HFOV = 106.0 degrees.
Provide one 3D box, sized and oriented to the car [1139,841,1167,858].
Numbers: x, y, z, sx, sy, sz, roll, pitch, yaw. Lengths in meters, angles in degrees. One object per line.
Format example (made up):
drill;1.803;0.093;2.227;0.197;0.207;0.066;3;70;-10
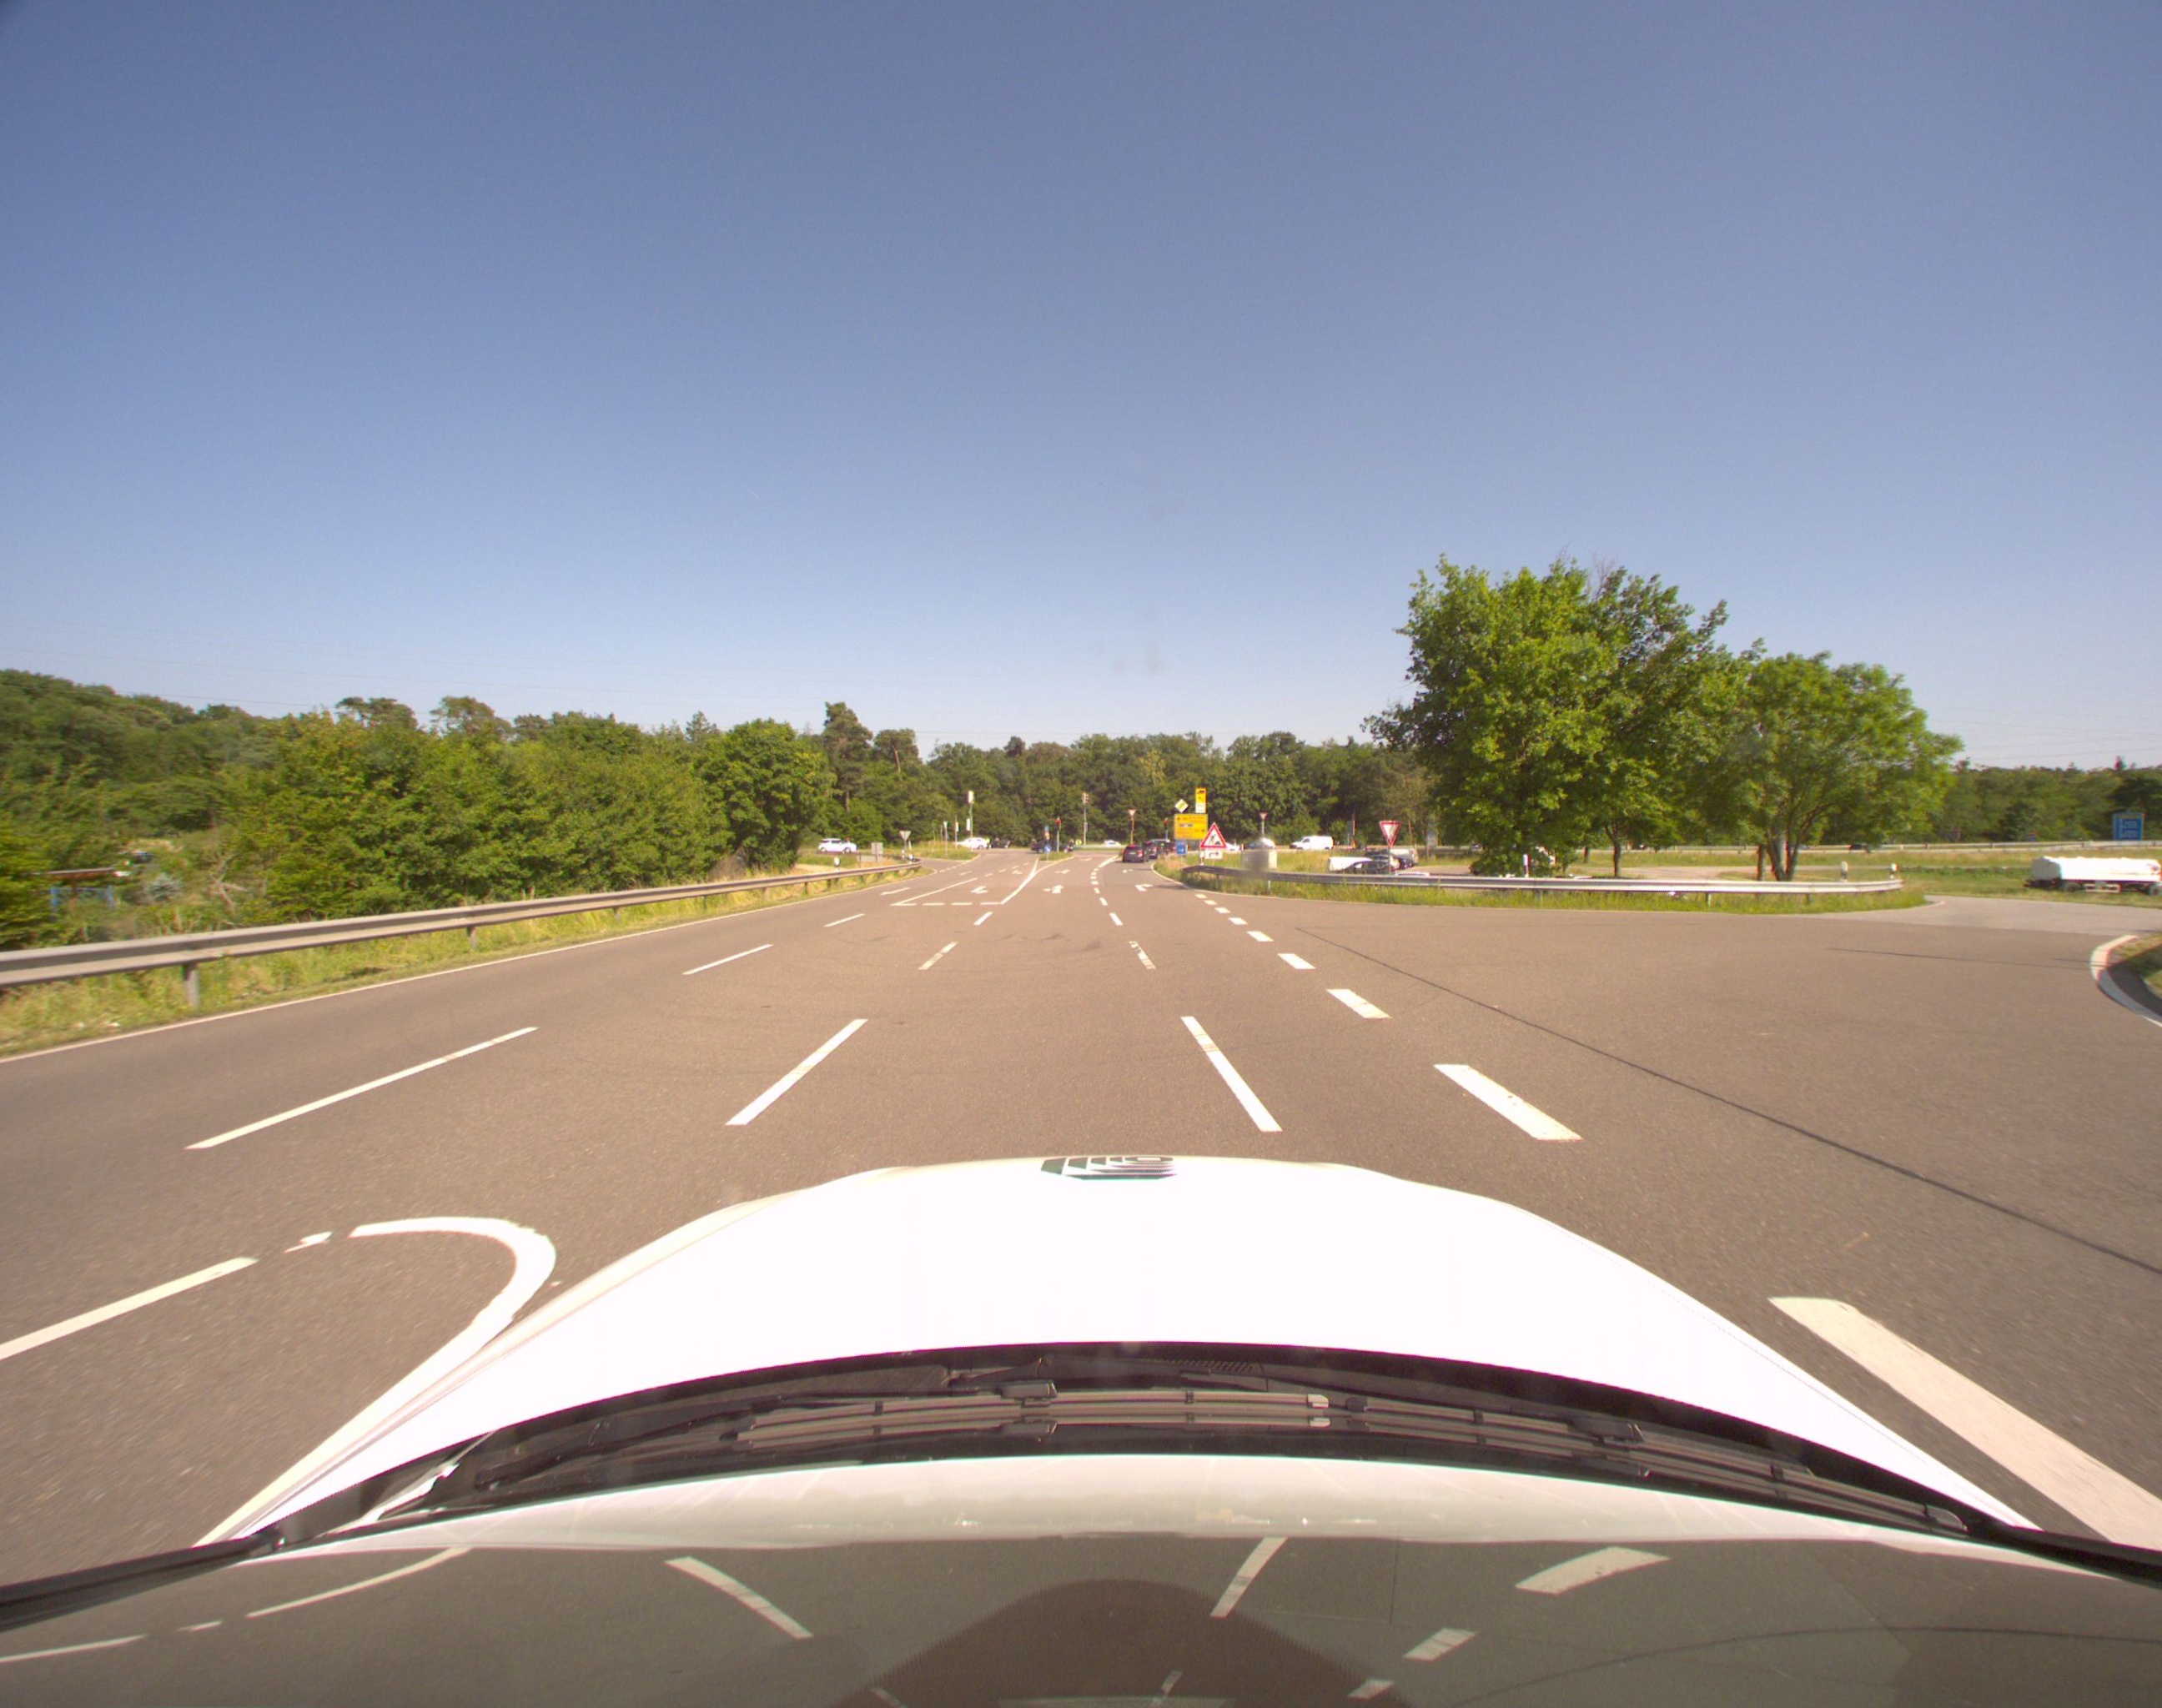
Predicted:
car;6.528;-0.393;73.647;1.785;1.501;4.018;0;1;17

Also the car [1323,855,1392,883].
car;19.130;1.020;56.448;4.325;1.783;1.908;1;1;12

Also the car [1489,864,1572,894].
car;28.263;1.536;51.352;4.319;1.589;2.010;2;1;19

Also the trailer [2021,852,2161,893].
trailer;72.500;1.289;58.046;6.734;2.670;2.905;1;1;15

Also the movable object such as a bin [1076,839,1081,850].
movable object such as a bin;-0.320;-1.227;104.935;0.599;1.488;0.733;-2;0;7

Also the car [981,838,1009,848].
car;-12.536;-1.607;118.638;3.983;1.422;1.792;-2;0;-7

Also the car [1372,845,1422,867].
car;30.130;0.169;77.714;3.949;1.876;1.903;3;1;39

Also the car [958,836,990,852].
car;-14.677;-1.325;111.845;4.003;2.013;1.783;-2;0;-22

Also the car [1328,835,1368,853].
car;30.304;-1.123;92.484;3.981;2.013;1.797;-1;1;-6

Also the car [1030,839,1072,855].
car;-3.291;-0.755;87.799;4.361;1.459;1.995;-2;0;-7

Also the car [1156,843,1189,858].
car;8.884;-0.364;79.146;1.782;1.501;4.025;0;1;28

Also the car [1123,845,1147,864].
car;4.416;0.009;66.391;1.790;1.398;4.007;-2;1;6

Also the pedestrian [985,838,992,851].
pedestrian;-12.450;-1.270;109.937;0.760;1.721;0.674;-1;1;-23

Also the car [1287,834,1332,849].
car;27.770;-1.494;98.935;4.876;1.552;1.995;-2;0;-7

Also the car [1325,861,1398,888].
car;18.374;1.334;53.523;4.384;1.667;1.908;-1;1;12

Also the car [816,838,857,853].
car;-25.437;-0.859;84.747;3.830;1.486;1.886;-1;0;-7

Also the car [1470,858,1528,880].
car;32.818;1.155;63.979;3.950;1.580;1.903;2;1;27

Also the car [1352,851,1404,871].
car;26.467;0.590;72.617;3.949;1.619;1.903;3;1;34

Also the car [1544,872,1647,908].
car;26.036;1.810;41.356;3.965;1.580;1.896;2;1;8

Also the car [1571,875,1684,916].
car;25.684;1.928;38.418;3.965;1.665;1.895;2;1;7

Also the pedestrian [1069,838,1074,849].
pedestrian;-1.195;-1.298;104.418;0.520;1.390;0.515;-2;0;10

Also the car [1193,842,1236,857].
car;14.665;-0.483;89.301;4.225;1.459;1.995;-2;0;-7
